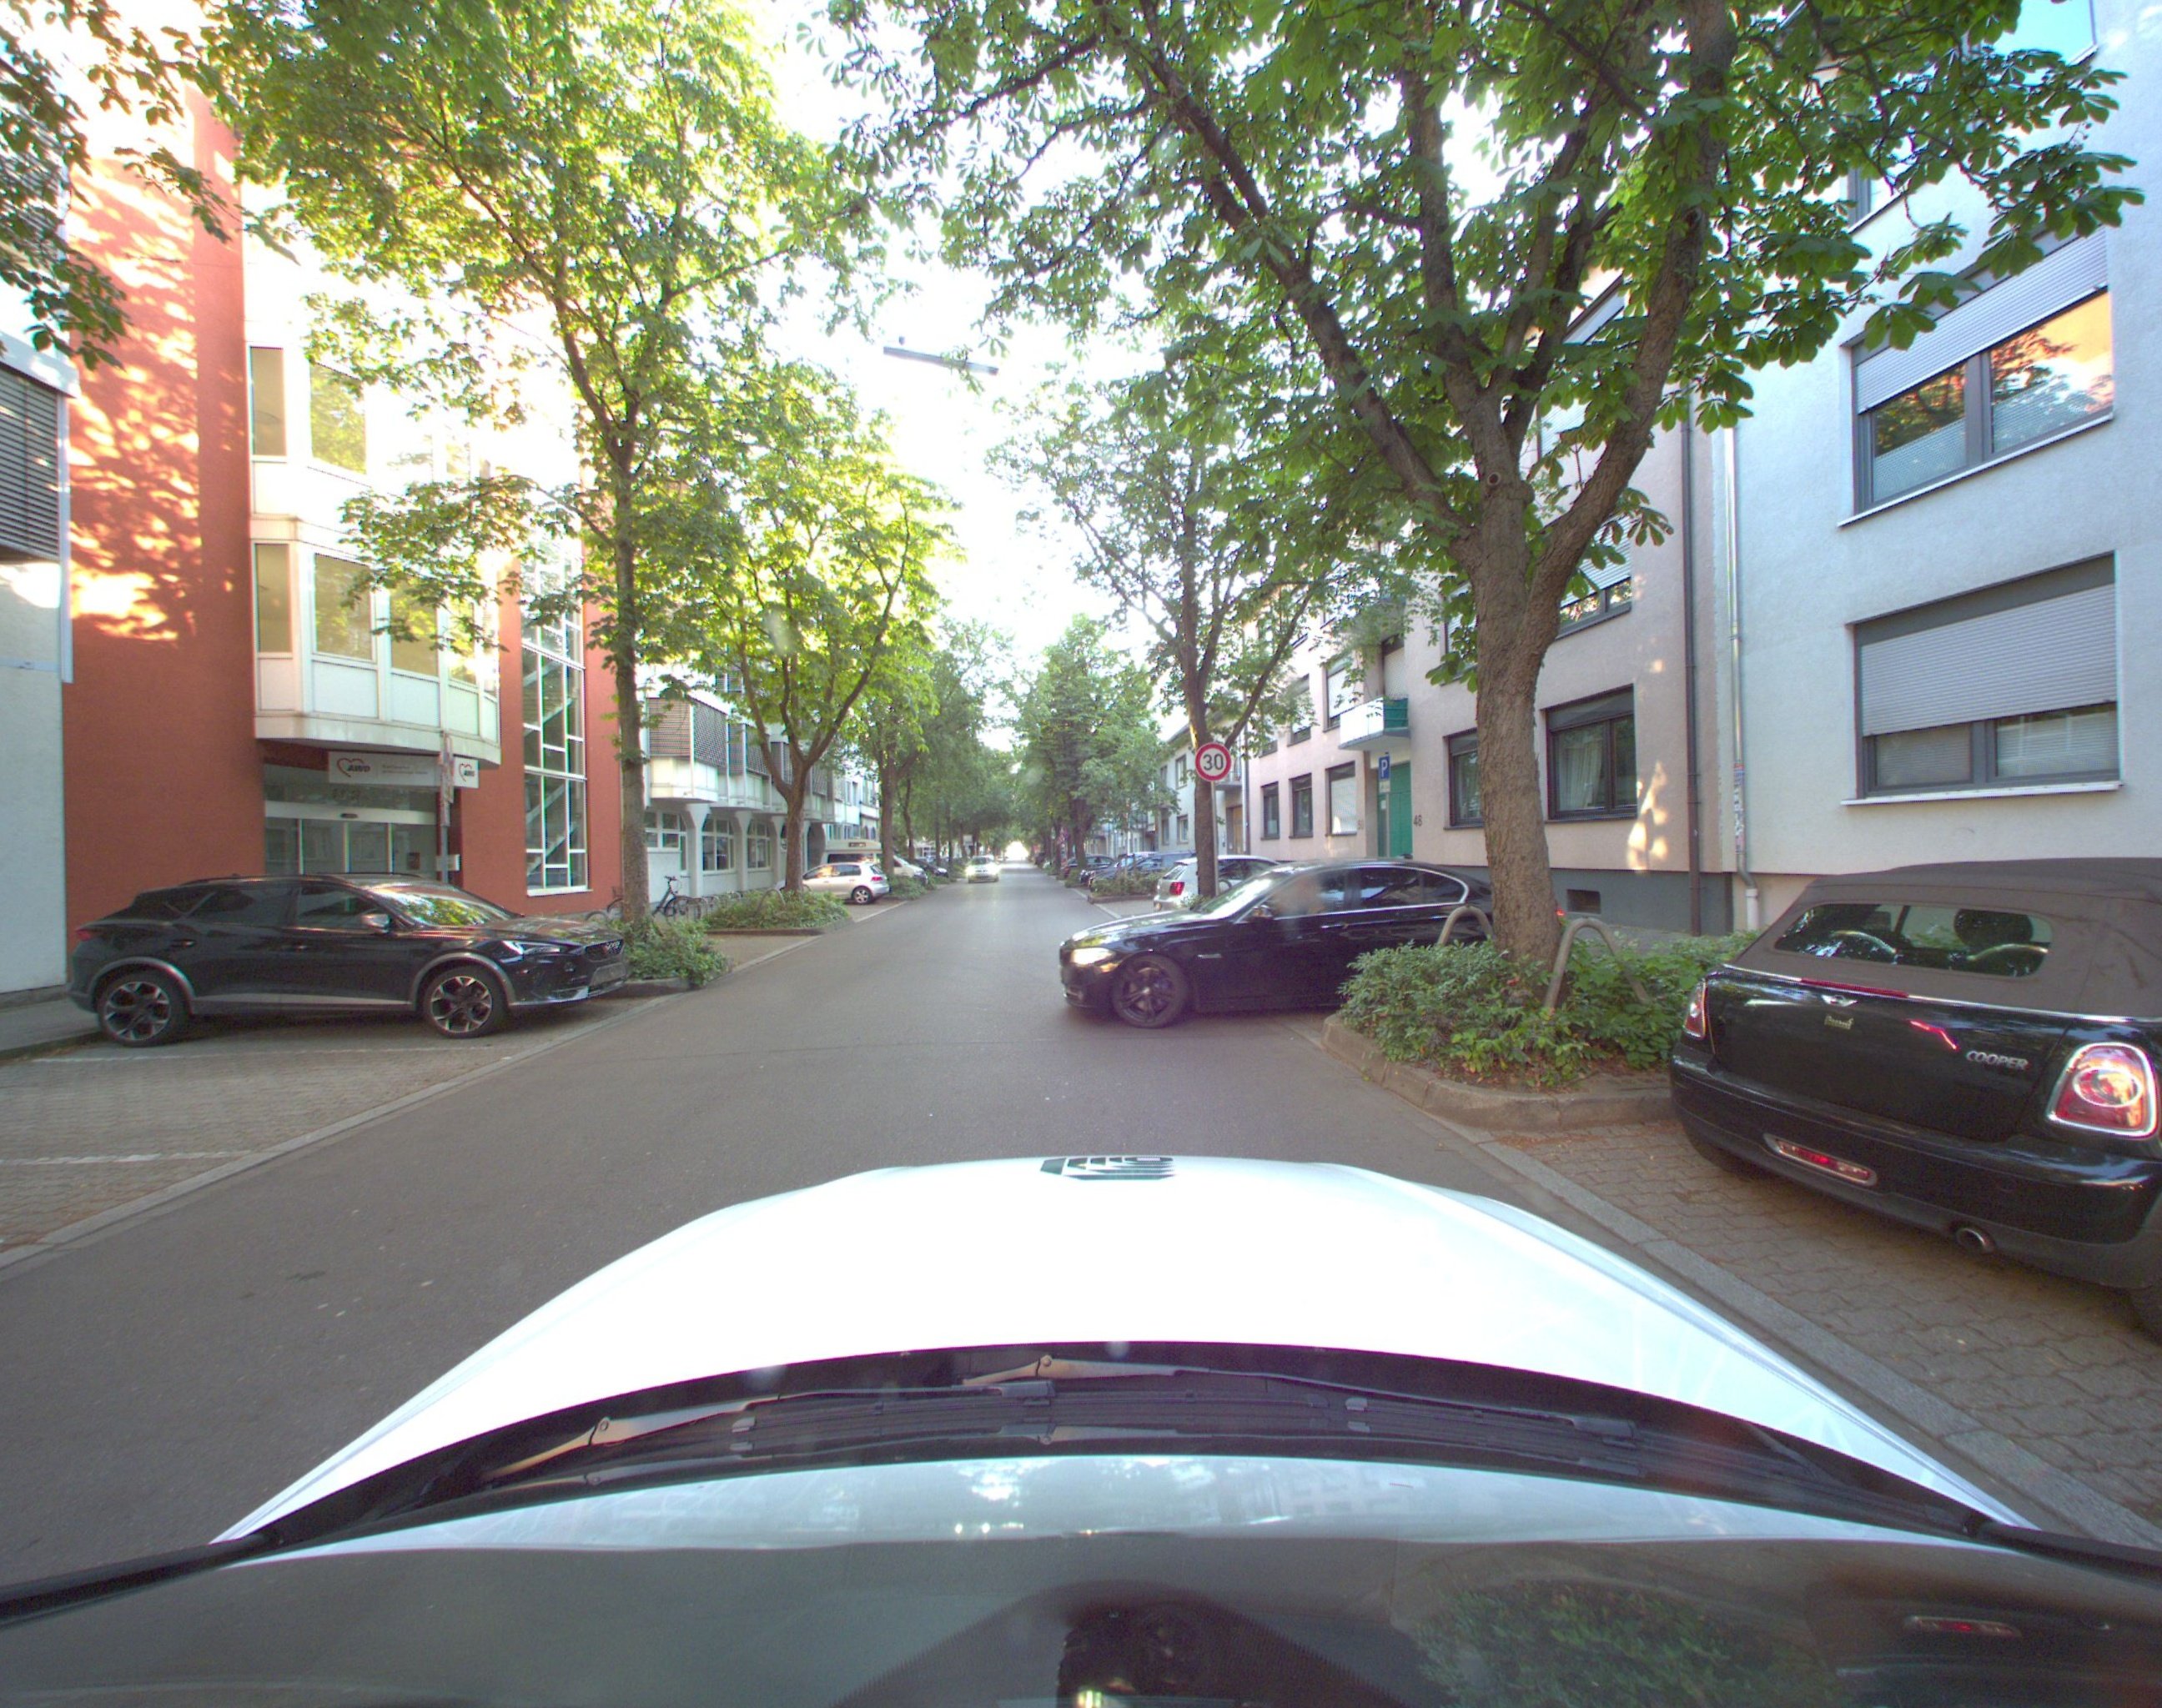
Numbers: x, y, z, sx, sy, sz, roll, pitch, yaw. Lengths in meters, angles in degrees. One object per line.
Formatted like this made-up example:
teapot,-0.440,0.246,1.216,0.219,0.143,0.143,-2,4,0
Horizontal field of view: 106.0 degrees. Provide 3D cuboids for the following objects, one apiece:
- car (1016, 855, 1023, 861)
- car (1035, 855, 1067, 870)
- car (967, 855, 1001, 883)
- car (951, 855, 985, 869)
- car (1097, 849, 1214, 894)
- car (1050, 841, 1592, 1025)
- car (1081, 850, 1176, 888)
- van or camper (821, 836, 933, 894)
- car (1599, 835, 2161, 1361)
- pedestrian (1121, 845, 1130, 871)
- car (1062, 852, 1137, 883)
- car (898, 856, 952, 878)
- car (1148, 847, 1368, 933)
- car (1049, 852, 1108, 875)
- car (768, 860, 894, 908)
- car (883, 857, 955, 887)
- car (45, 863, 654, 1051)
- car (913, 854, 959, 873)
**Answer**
car,-16.446,0.950,218.311,1.819,1.531,3.995,-1,0,-4
car,-3.733,1.044,101.053,3.959,1.684,1.783,-2,0,-4
car,-5.879,0.869,49.660,1.775,1.562,4.162,-1,0,-4
car,-14.226,1.025,102.679,3.959,1.619,1.783,-2,0,-4
car,2.674,0.622,29.746,3.963,1.476,1.781,-2,0,-7
car,2.116,0.687,8.026,4.731,1.480,1.799,-1,0,-1
car,2.071,0.656,36.242,3.962,1.527,1.782,-2,0,-5
van or camper,-9.297,0.472,37.417,4.656,2.478,1.997,-1,0,-5
car,4.343,0.623,3.269,3.608,1.363,1.660,-2,0,-8
pedestrian,3.432,0.292,63.082,0.587,2.013,0.669,-1,0,-3
car,1.012,0.732,45.084,3.962,1.527,1.782,-2,0,-5
car,-12.403,1.055,64.967,3.959,1.619,1.783,-2,0,-4
car,3.425,0.665,16.118,3.904,1.476,1.661,-2,0,-7
car,-0.180,0.649,56.987,3.963,1.527,1.781,-2,0,-6
car,-8.852,1.039,29.084,3.960,1.517,1.783,-2,0,-4
car,-9.599,1.031,48.421,3.960,1.619,1.783,-2,0,-4
car,-7.027,0.919,8.272,4.347,1.517,1.782,-2,0,-5
car,-13.604,0.854,76.619,3.959,1.619,1.783,-2,0,-4
